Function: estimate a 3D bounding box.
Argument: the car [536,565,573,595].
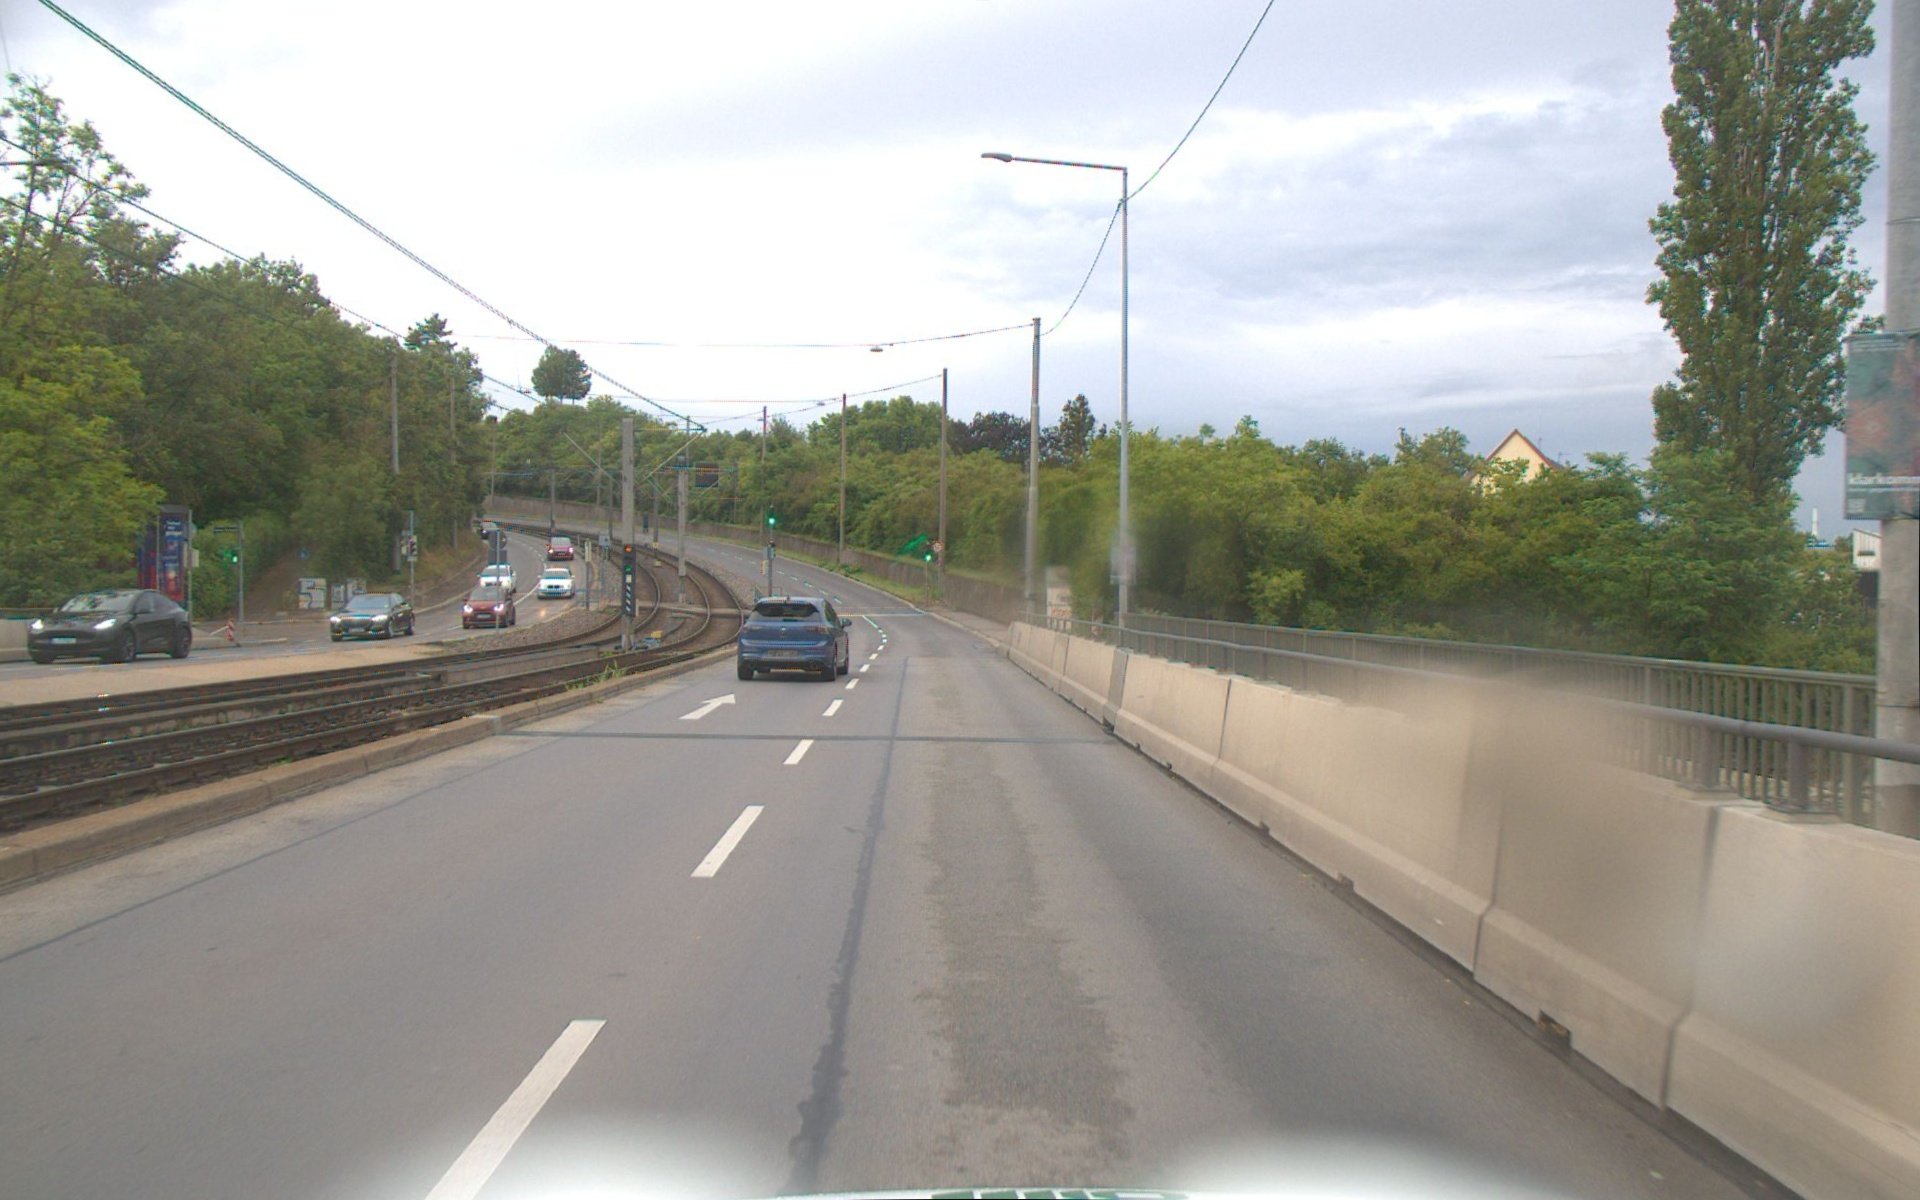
[{"bbox_3d":[-20.923,-1.007,85.219,1.701,1.462,4.473,-1,0,-15],"label":"car"}]

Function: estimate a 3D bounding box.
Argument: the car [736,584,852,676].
[{"bbox_3d":[-2.974,0.516,30.303,1.727,1.527,3.999,1,0,-1],"label":"car"}]

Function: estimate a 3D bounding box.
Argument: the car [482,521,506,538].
[{"bbox_3d":[-44.148,-6.670,156.522,1.692,1.483,4.247,-2,3,-22],"label":"car"}]

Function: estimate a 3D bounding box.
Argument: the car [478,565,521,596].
[{"bbox_3d":[-24.265,-1.013,87.261,1.788,1.541,4.518,0,0,-10],"label":"car"}]

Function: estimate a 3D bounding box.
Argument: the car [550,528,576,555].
[{"bbox_3d":[-29.248,-4.320,121.939,1.816,1.624,4.720,-1,6,-13],"label":"car"}]

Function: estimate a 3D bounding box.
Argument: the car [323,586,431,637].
[{"bbox_3d":[-19.797,0.410,56.403,1.929,1.625,5.183,-1,-1,-1],"label":"car"}]

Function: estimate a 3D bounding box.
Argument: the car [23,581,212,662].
[{"bbox_3d":[-18.717,0.425,37.014,1.858,1.625,4.731,-1,1,-1],"label":"car"}]

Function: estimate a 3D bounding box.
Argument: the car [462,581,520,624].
[{"bbox_3d":[-18.024,0.087,63.634,1.569,1.519,3.015,-1,2,-5],"label":"car"}]
